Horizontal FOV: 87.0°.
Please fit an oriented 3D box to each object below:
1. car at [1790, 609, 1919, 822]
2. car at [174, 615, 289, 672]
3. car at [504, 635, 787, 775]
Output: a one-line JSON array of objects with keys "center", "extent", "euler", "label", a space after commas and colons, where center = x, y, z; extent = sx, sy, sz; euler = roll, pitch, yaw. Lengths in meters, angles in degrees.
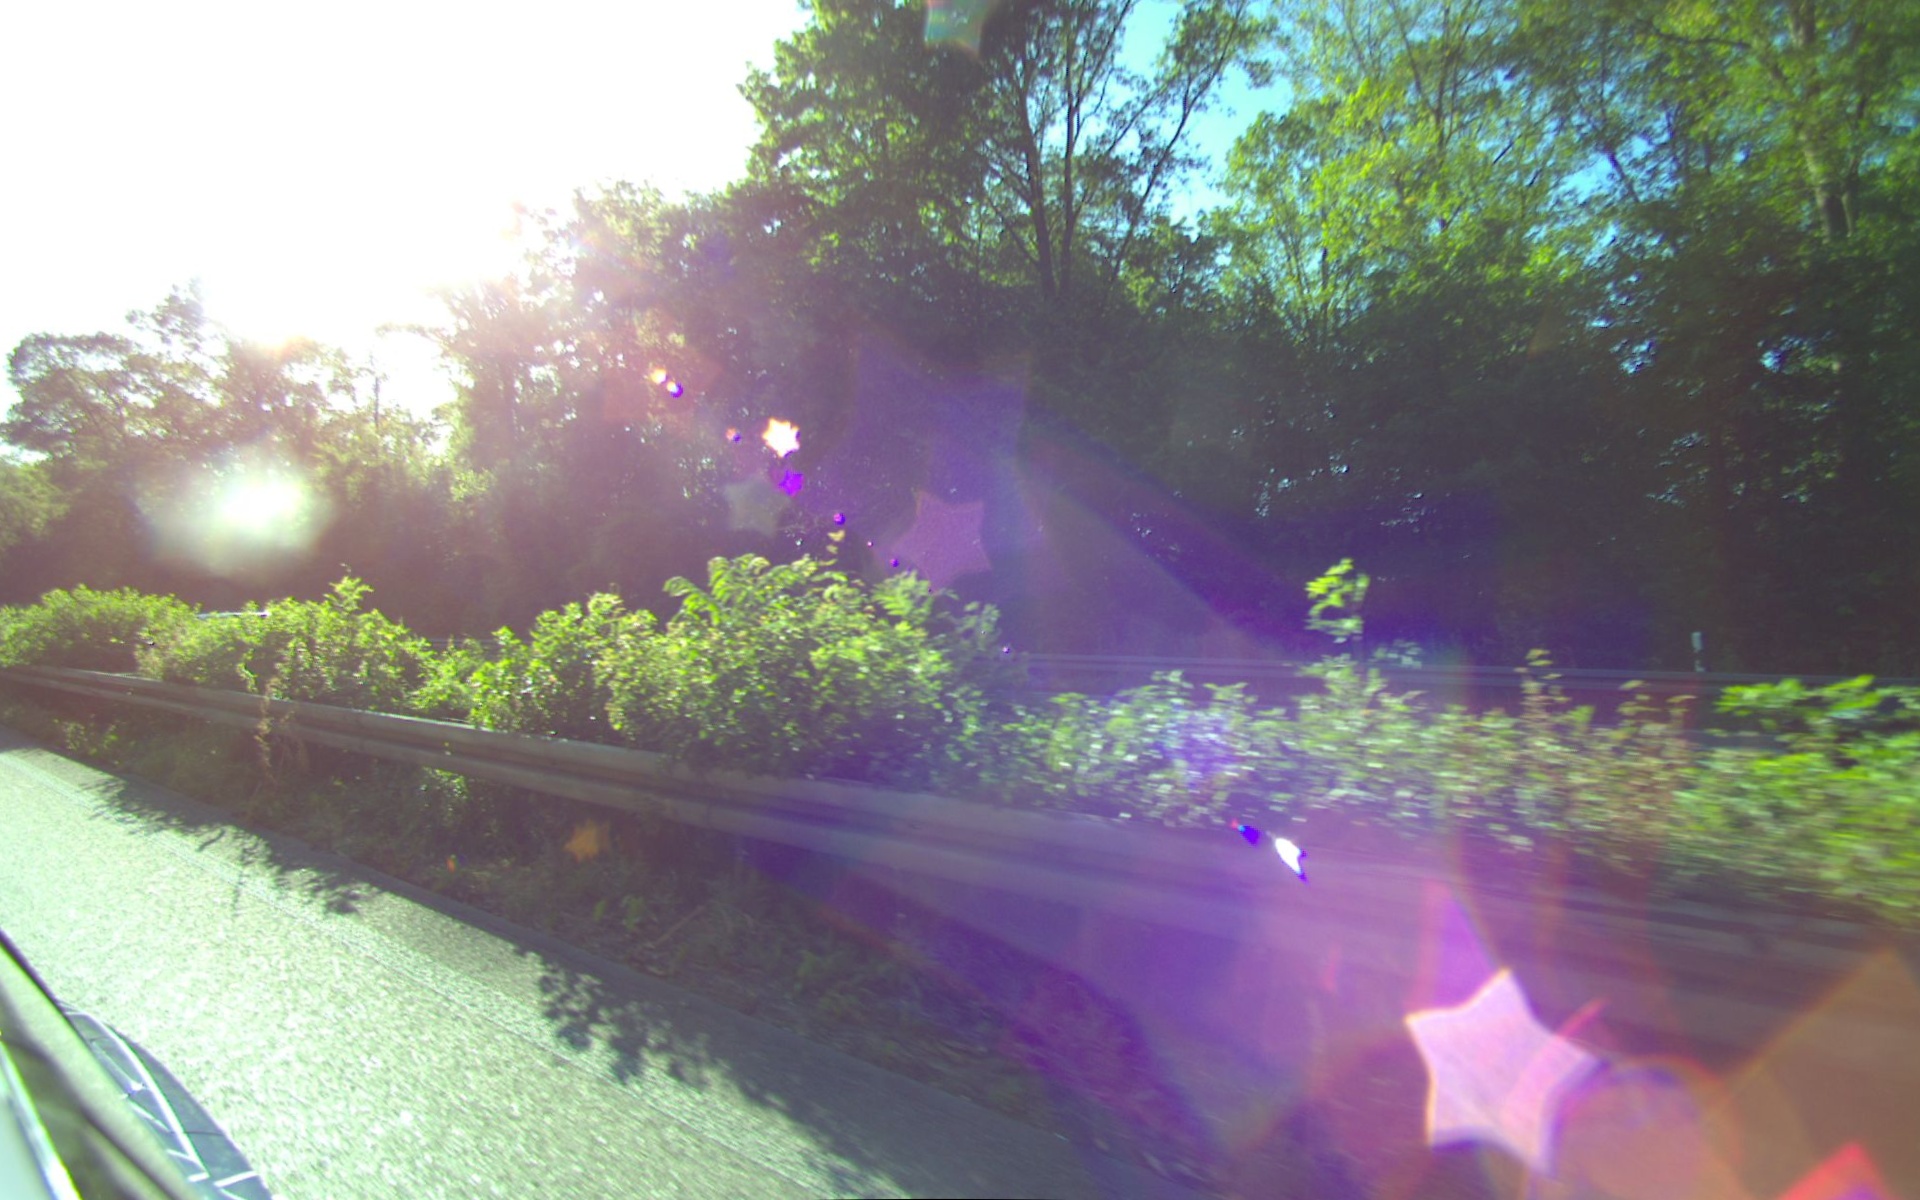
[{"center": [9.238, 0.896, 7.574], "extent": [4.621, 1.637, 1.877], "euler": [-1, 0, 42], "label": "car"}, {"center": [-25.692, 1.470, 35.627], "extent": [4.702, 1.875, 1.975], "euler": [-1, 0, 37], "label": "car"}, {"center": [-4.245, 1.250, 13.370], "extent": [3.997, 1.468, 1.689], "euler": [-1, 0, 40], "label": "car"}]
